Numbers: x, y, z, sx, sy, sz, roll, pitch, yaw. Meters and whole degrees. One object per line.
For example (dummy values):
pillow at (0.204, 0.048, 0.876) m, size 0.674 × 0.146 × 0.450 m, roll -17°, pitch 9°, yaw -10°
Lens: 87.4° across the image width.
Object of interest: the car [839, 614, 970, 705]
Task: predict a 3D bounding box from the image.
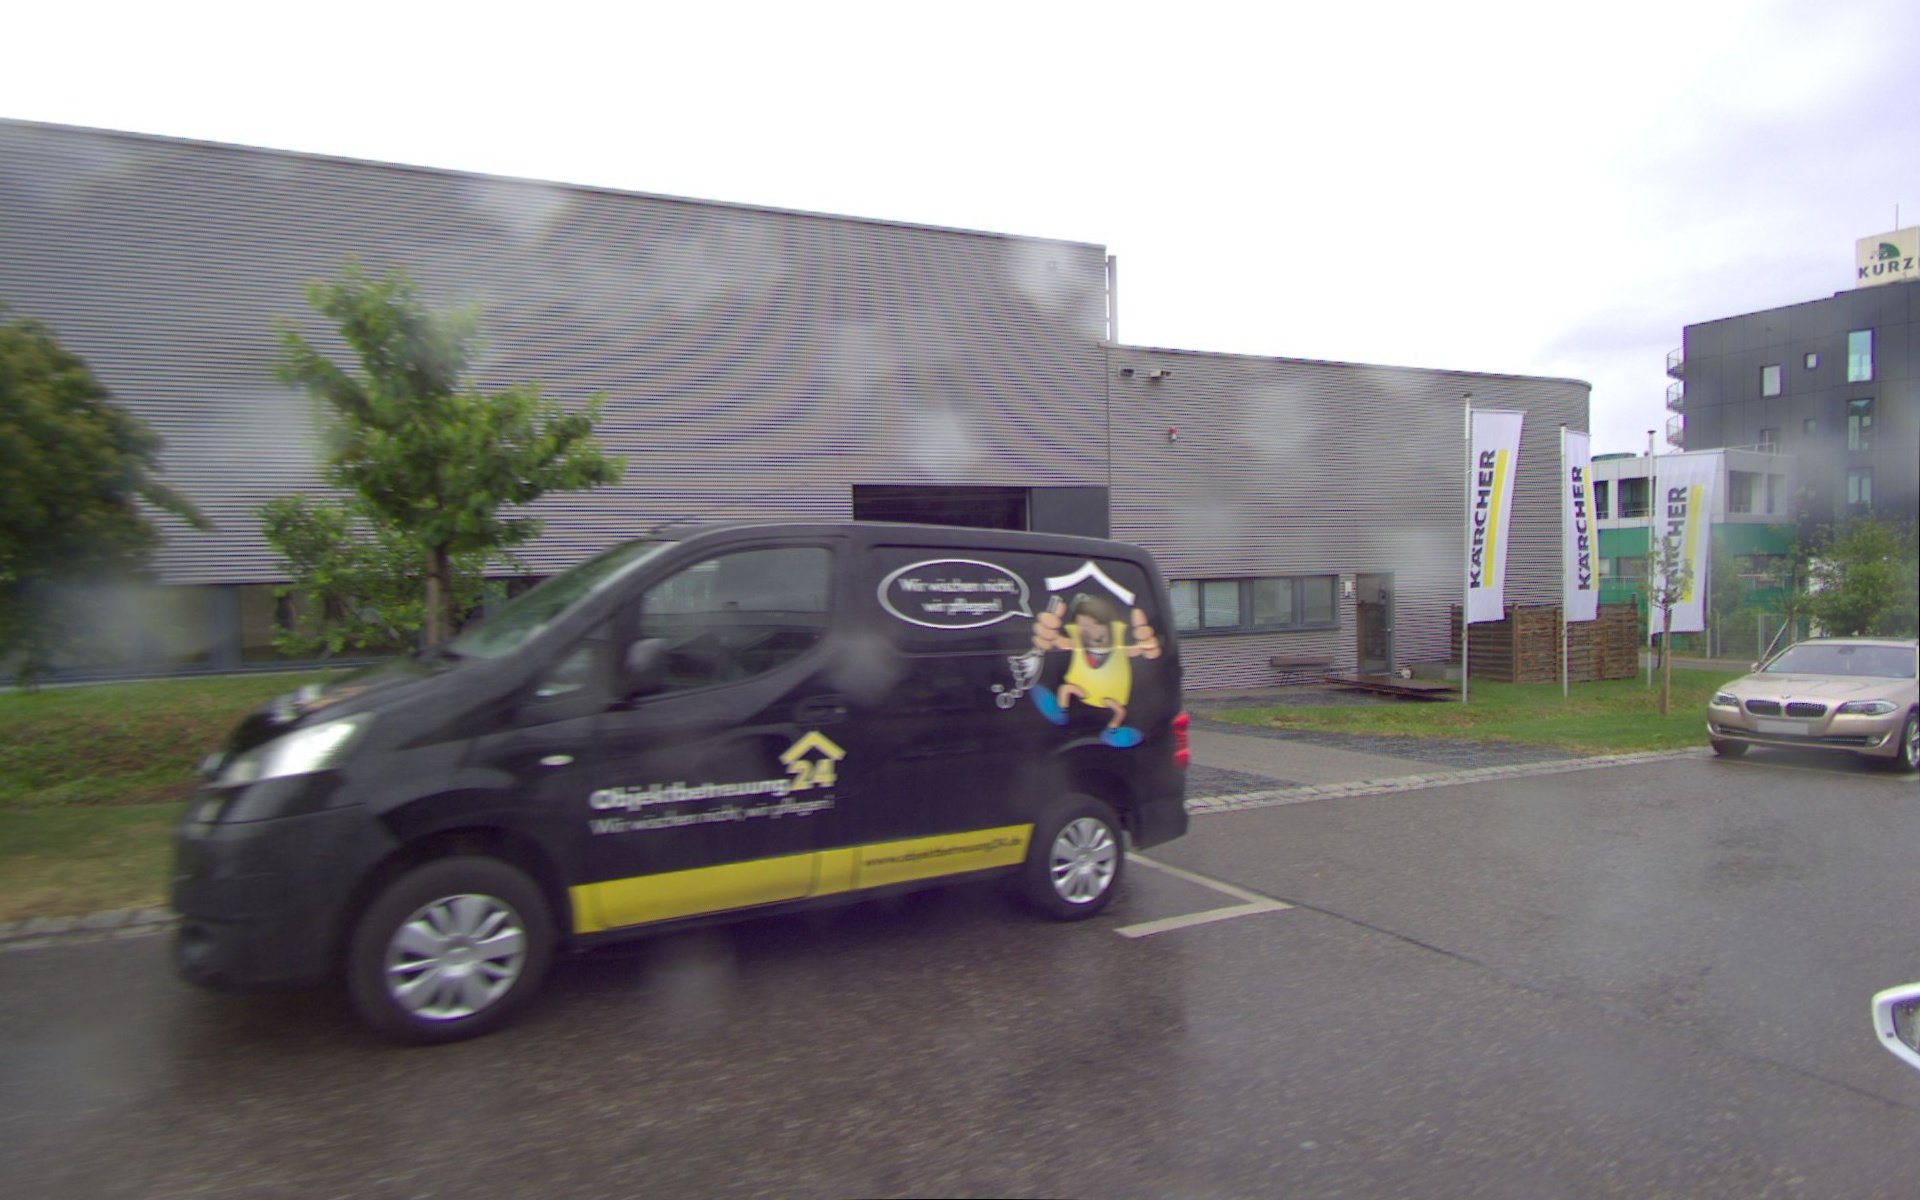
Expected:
car at (-1.410, 1.293, 23.653) m, size 1.904 × 1.796 × 4.205 m, roll -2°, pitch 1°, yaw -20°

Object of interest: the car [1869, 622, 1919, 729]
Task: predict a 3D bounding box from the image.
car at (16.513, 1.188, 16.027) m, size 4.791 × 1.597 × 1.945 m, roll 2°, pitch -2°, yaw -35°

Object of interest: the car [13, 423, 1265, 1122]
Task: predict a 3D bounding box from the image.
car at (-0.952, 0.514, 4.760) m, size 4.794 × 1.855 × 1.905 m, roll 2°, pitch -1°, yaw -32°

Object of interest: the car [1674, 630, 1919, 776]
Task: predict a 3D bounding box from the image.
car at (11.214, 1.136, 12.605) m, size 5.191 × 1.480 × 1.945 m, roll 1°, pitch -1°, yaw -33°

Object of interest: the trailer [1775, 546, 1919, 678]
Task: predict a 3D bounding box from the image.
trailer at (30.507, 0.430, 34.435) m, size 1.965 × 4.258 × 4.189 m, roll 0°, pitch -1°, yaw 6°
